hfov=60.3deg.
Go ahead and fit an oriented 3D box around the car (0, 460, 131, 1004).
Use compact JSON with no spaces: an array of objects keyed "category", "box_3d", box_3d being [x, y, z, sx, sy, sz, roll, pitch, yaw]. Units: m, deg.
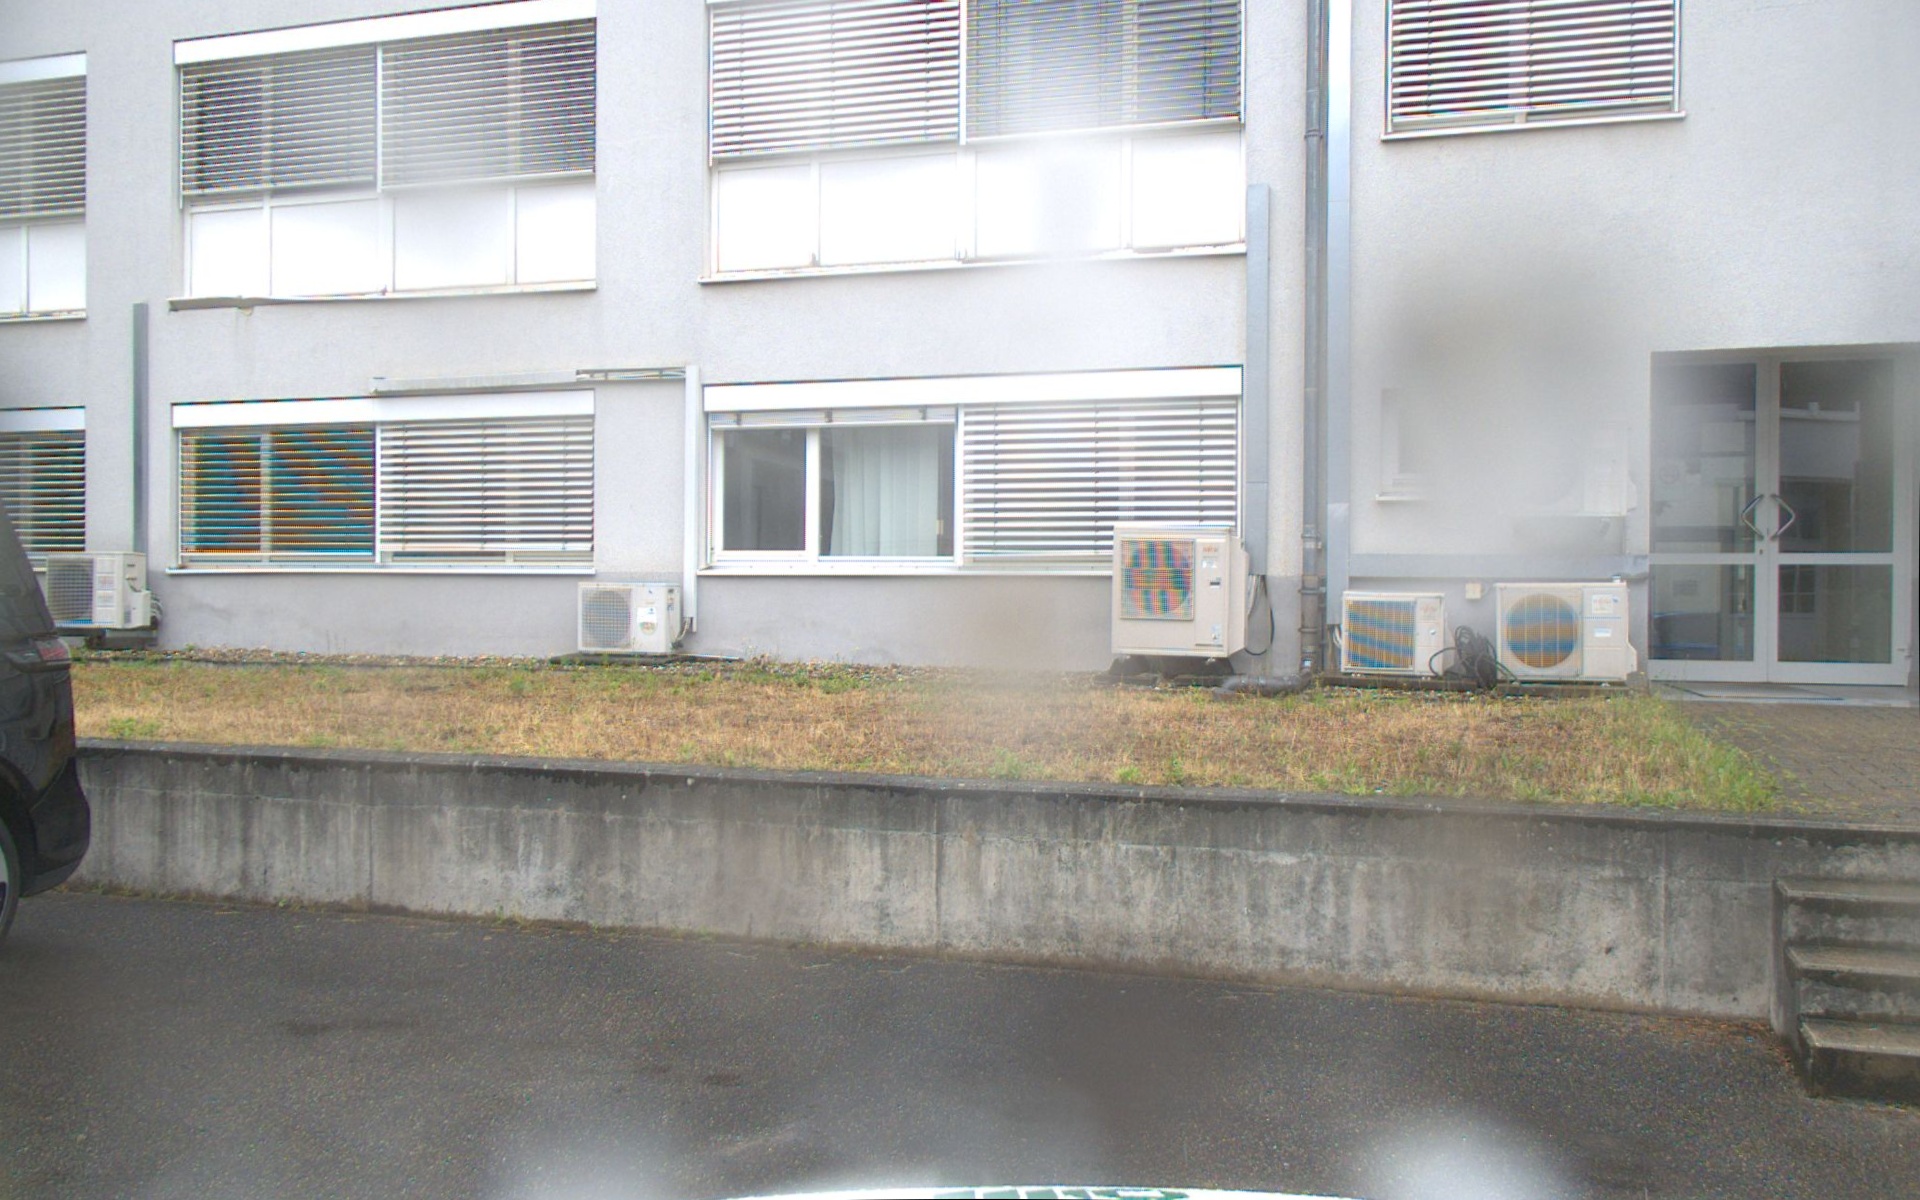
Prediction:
[{"category":"car","box_3d":[-4.831,0.498,4.556,1.997,1.930,4.526,-1,1,16]}]
